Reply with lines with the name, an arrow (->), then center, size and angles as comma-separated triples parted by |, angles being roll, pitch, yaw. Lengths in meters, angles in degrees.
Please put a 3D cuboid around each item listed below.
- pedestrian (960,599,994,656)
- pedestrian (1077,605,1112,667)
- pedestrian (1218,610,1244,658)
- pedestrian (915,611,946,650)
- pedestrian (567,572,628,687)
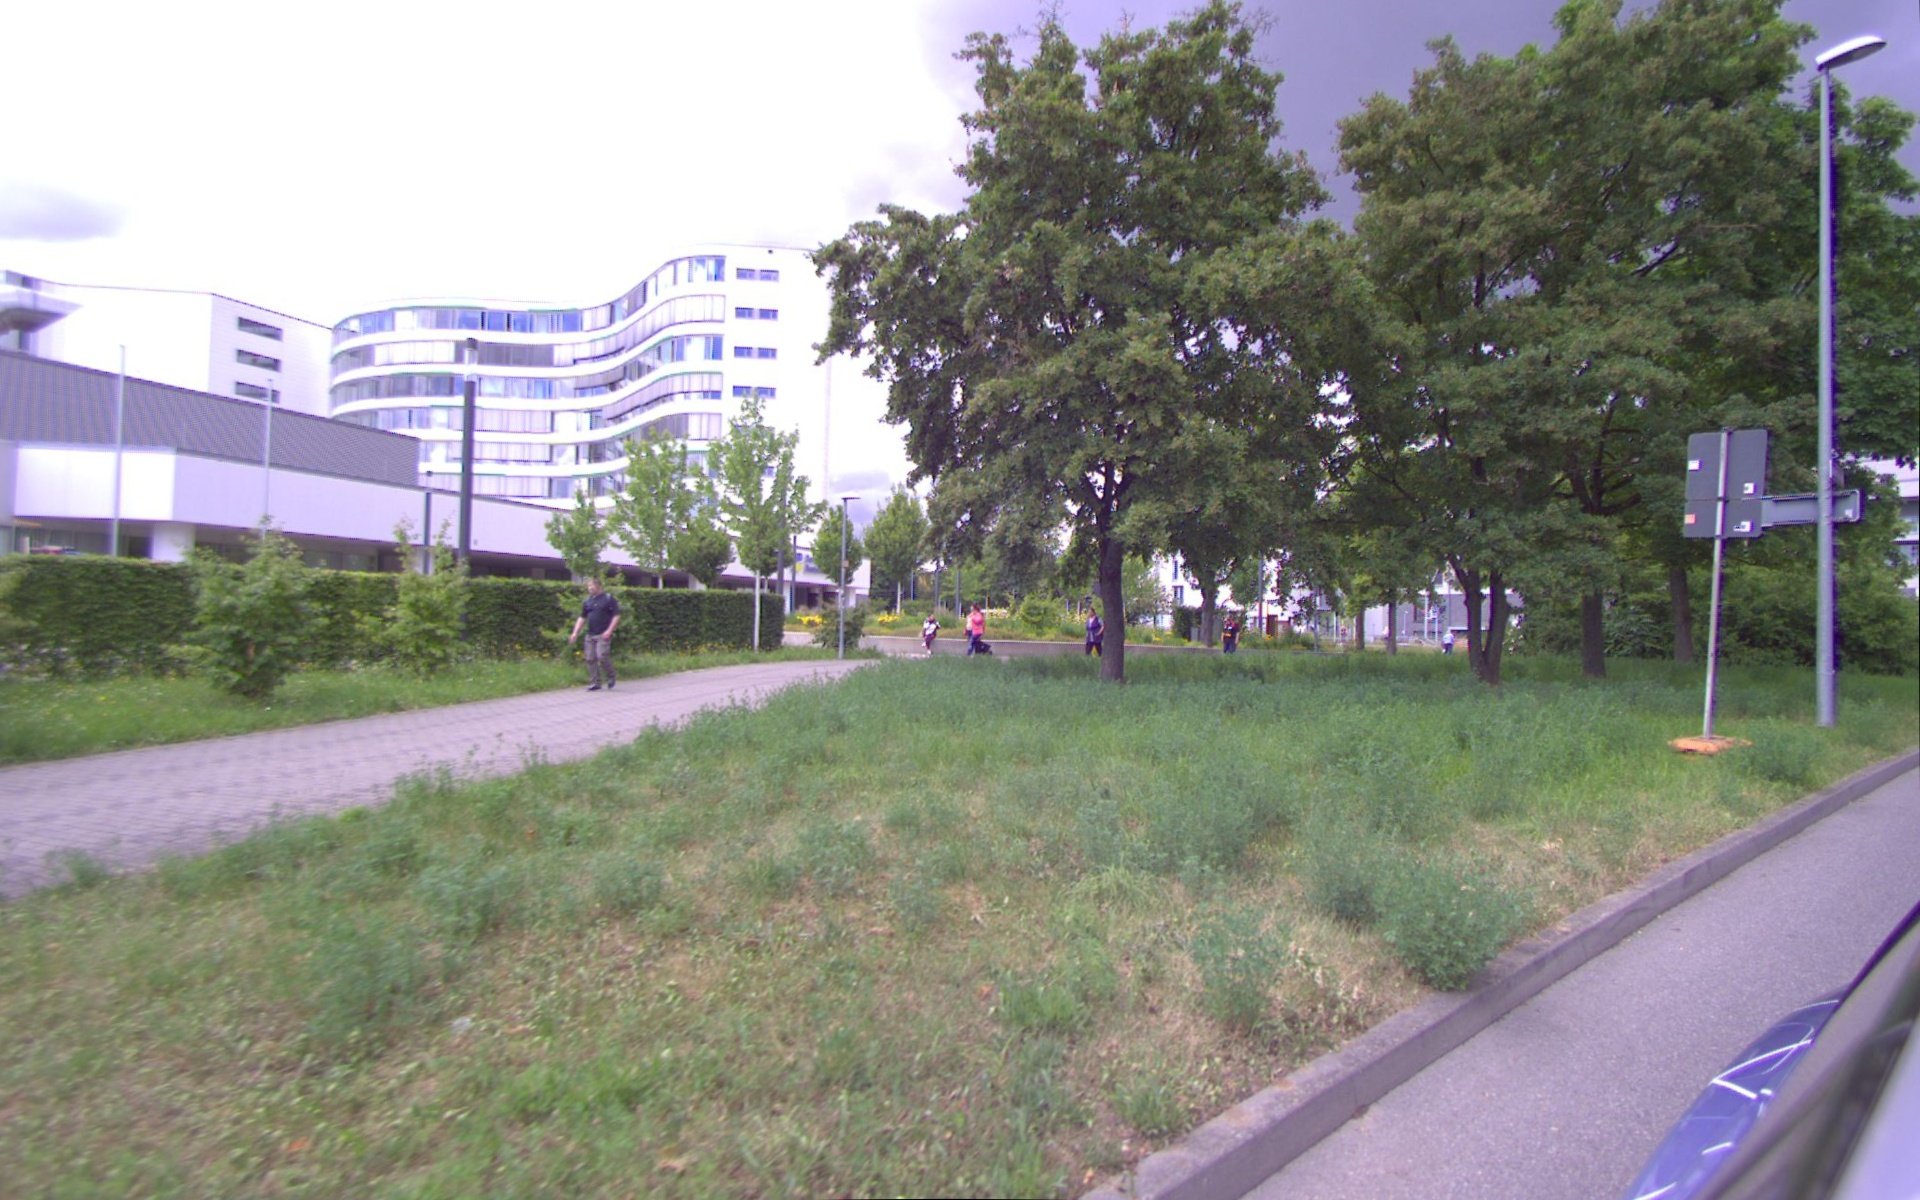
pedestrian -> 0.456, 0.724, 27.395 | 0.673, 1.526, 0.657 | 0, 0, 41
pedestrian -> 3.619, 0.953, 27.245 | 0.655, 1.627, 0.675 | 0, 0, -40
pedestrian -> 8.331, 1.033, 31.091 | 0.669, 1.433, 0.662 | 0, 0, 25
pedestrian -> -0.897, 0.907, 30.471 | 0.673, 1.156, 0.657 | 0, 0, 41
pedestrian -> -5.384, 0.426, 15.062 | 0.629, 1.665, 0.601 | 0, 0, 17
